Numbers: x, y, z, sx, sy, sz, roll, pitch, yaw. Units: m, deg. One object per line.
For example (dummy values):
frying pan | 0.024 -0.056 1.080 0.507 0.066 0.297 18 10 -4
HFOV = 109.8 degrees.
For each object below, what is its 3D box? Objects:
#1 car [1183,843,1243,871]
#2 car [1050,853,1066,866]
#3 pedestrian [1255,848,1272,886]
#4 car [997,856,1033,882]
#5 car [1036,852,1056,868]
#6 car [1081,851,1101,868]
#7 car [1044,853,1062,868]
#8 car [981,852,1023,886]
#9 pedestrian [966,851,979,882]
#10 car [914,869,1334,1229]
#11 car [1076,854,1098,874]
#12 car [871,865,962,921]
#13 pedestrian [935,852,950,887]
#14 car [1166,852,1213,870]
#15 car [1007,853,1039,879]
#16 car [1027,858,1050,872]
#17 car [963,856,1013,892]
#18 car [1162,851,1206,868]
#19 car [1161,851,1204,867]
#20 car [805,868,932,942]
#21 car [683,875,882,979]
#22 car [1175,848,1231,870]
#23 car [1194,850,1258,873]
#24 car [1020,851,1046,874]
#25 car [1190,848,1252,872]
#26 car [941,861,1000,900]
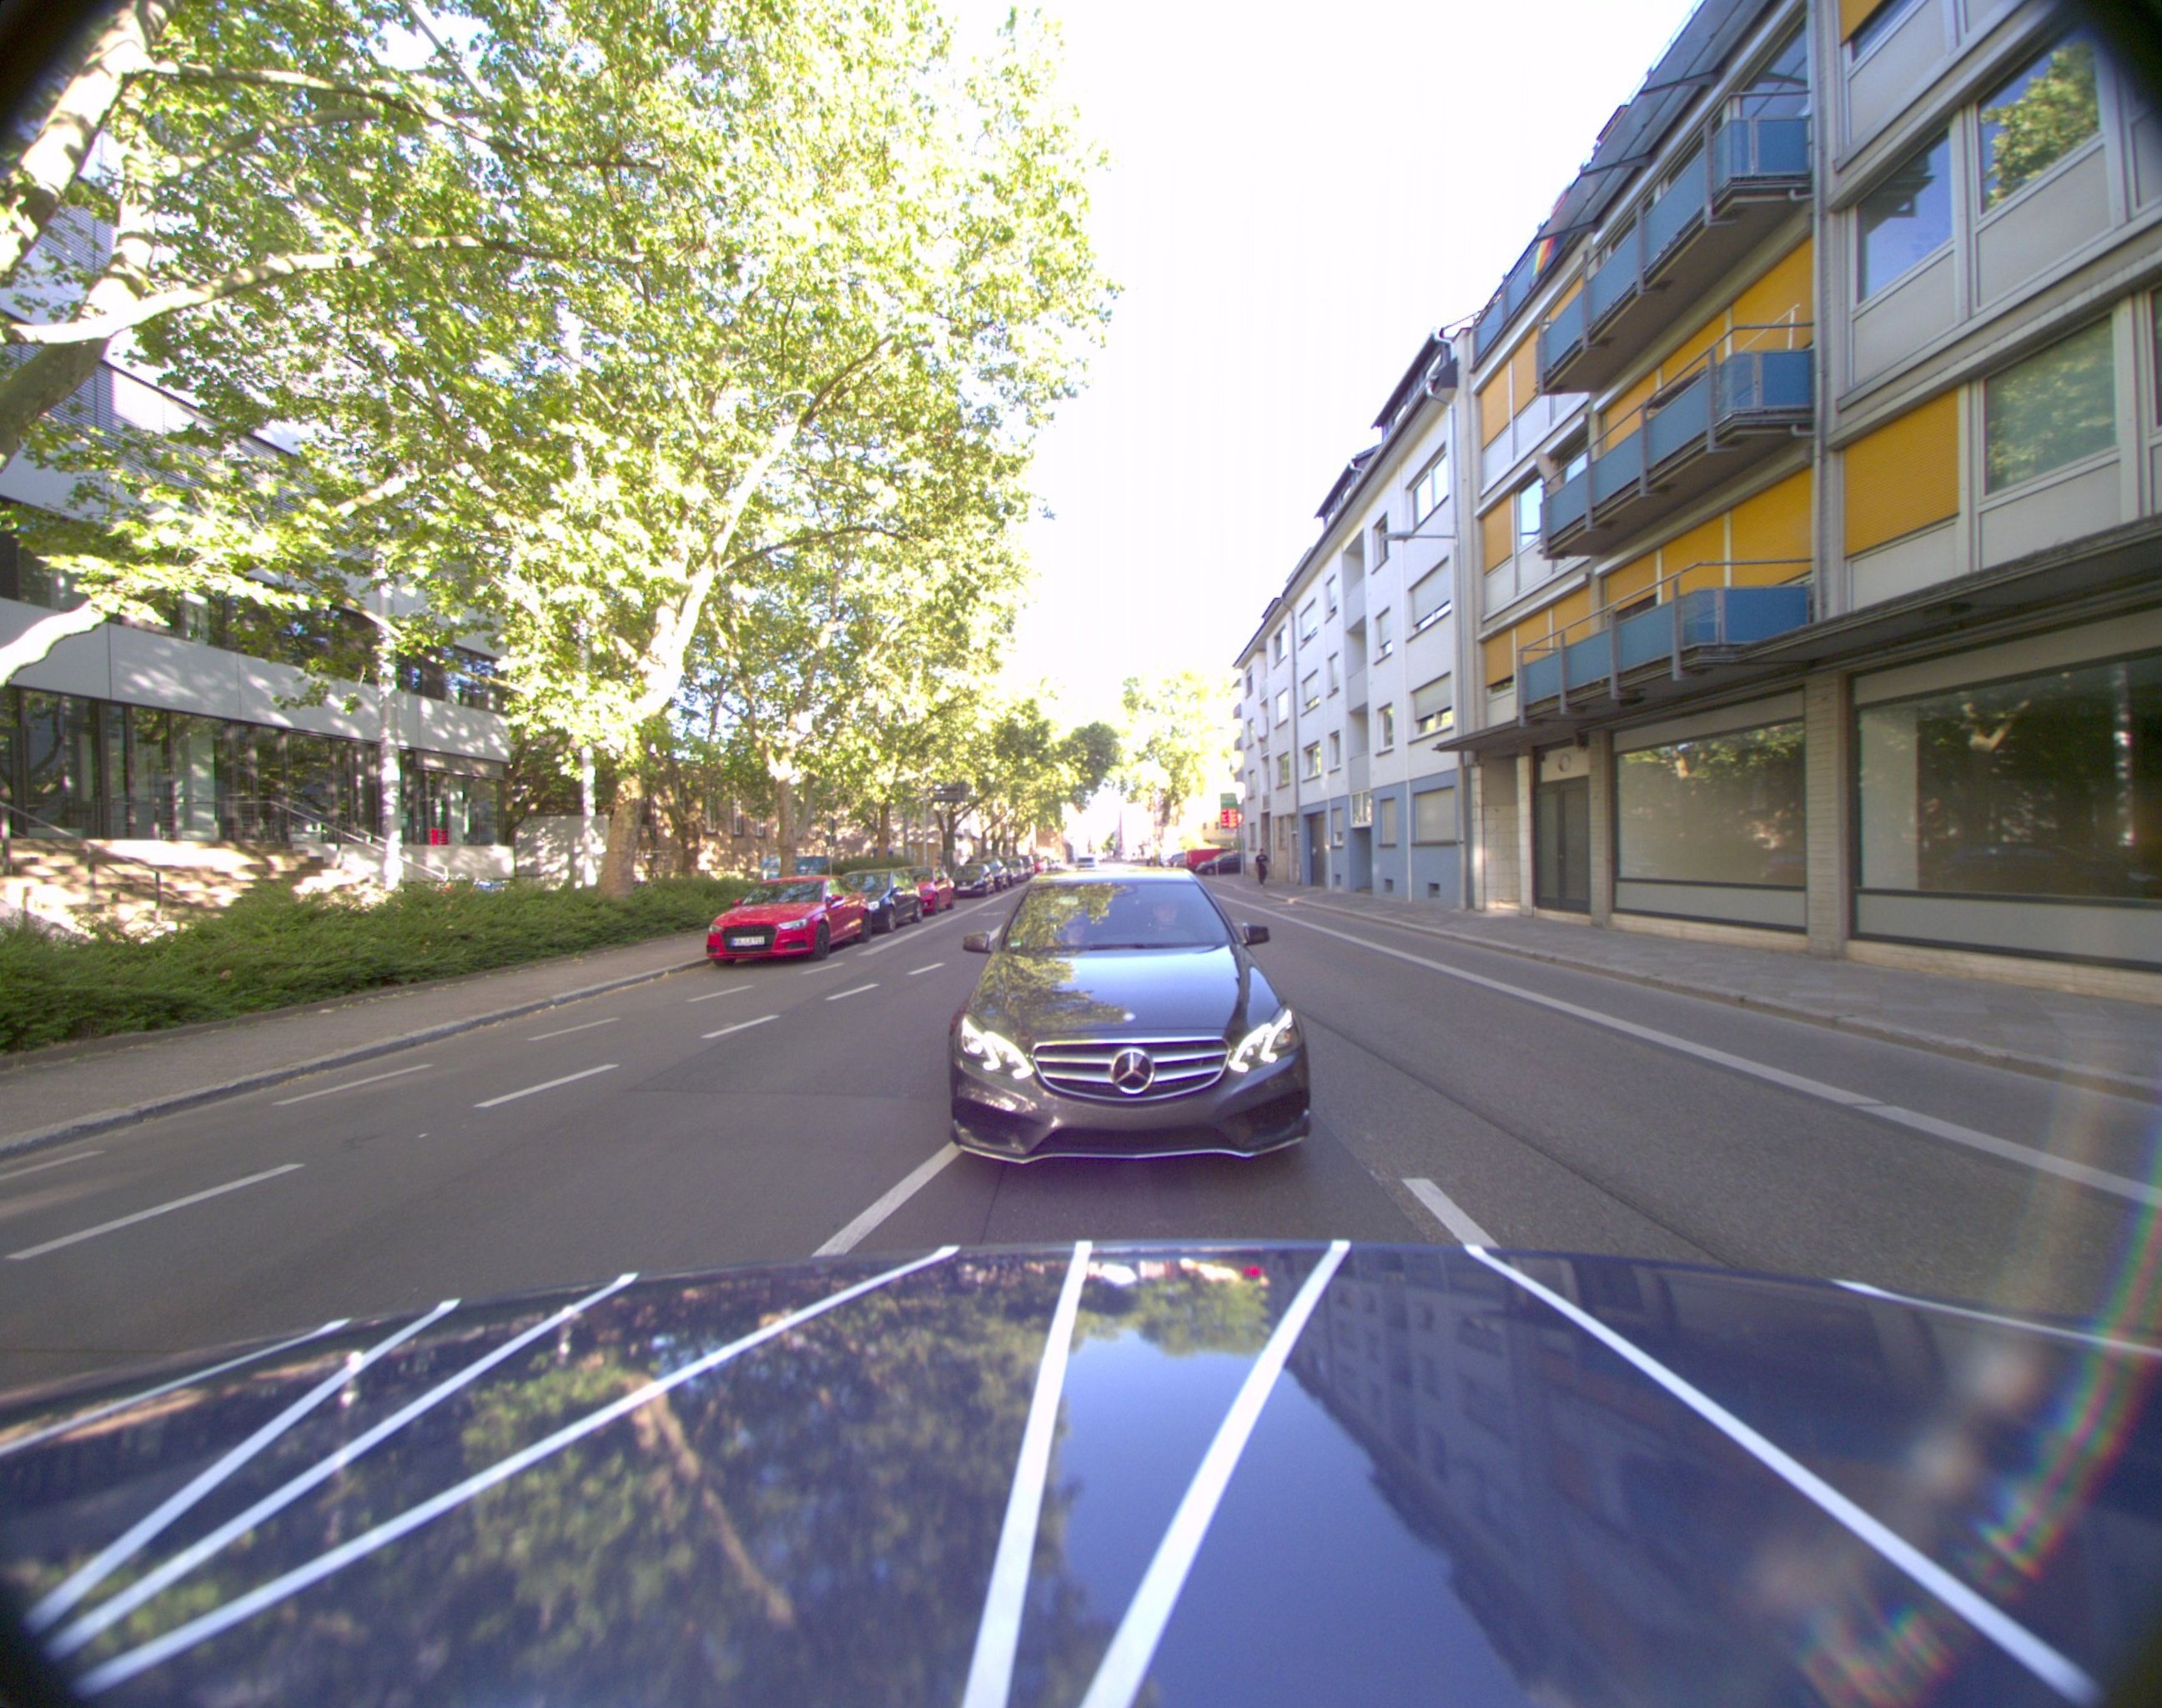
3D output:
car | 10.413 0.227 60.125 4.255 1.907 1.818 -4 0 0
car | -3.049 0.689 102.944 1.835 1.667 4.259 -2 0 1
pedestrian | 8.259 0.590 34.410 0.612 1.685 0.655 -2 1 1
car | -4.340 0.950 50.603 1.835 1.604 4.259 -2 0 1
car | -3.941 0.672 86.222 1.835 1.667 4.259 -2 0 1
car | 1.051 0.557 78.002 1.908 1.678 4.813 -2 0 1
car | -3.414 0.790 92.837 1.835 1.667 4.259 -2 0 1
car | -4.512 0.826 44.109 1.835 1.787 4.463 -2 0 1
pedestrian | -6.709 0.760 47.089 0.660 1.849 0.641 -2 1 1
car | 0.223 0.921 5.566 1.849 1.490 4.302 -1 0 1
car | 0.524 0.786 61.990 1.726 1.530 4.000 -1 0 1
car | -5.044 1.138 23.835 1.835 1.459 4.168 -2 0 1
pedestrian | -7.151 0.815 39.245 0.601 1.785 0.593 -2 1 0
car | 10.430 0.678 73.187 4.255 1.461 1.653 -4 0 1
car | -4.181 0.816 55.634 1.835 1.750 4.259 -2 0 1
car | -3.993 1.030 71.783 1.835 1.220 4.259 -2 0 1
car | -4.598 0.968 38.070 1.835 1.596 4.161 -2 0 1
car | 10.601 0.545 78.646 4.255 1.461 1.653 -4 0 1
car | 10.772 0.519 80.610 4.255 1.461 1.653 -4 0 1
car | -5.042 1.154 18.625 1.835 1.438 4.168 -2 0 1
car | -5.131 1.181 13.765 1.835 1.396 4.247 -2 0 1
car | 10.050 0.412 62.707 4.255 1.461 1.653 -4 0 1
car | 10.398 0.523 54.743 4.255 1.392 1.653 -4 0 1
car | -4.148 0.686 66.342 1.835 1.839 4.259 -2 0 1
car | 10.482 0.459 57.044 4.255 1.461 1.653 -4 0 1
car | -4.747 1.108 33.172 1.835 1.459 4.168 -2 0 1
